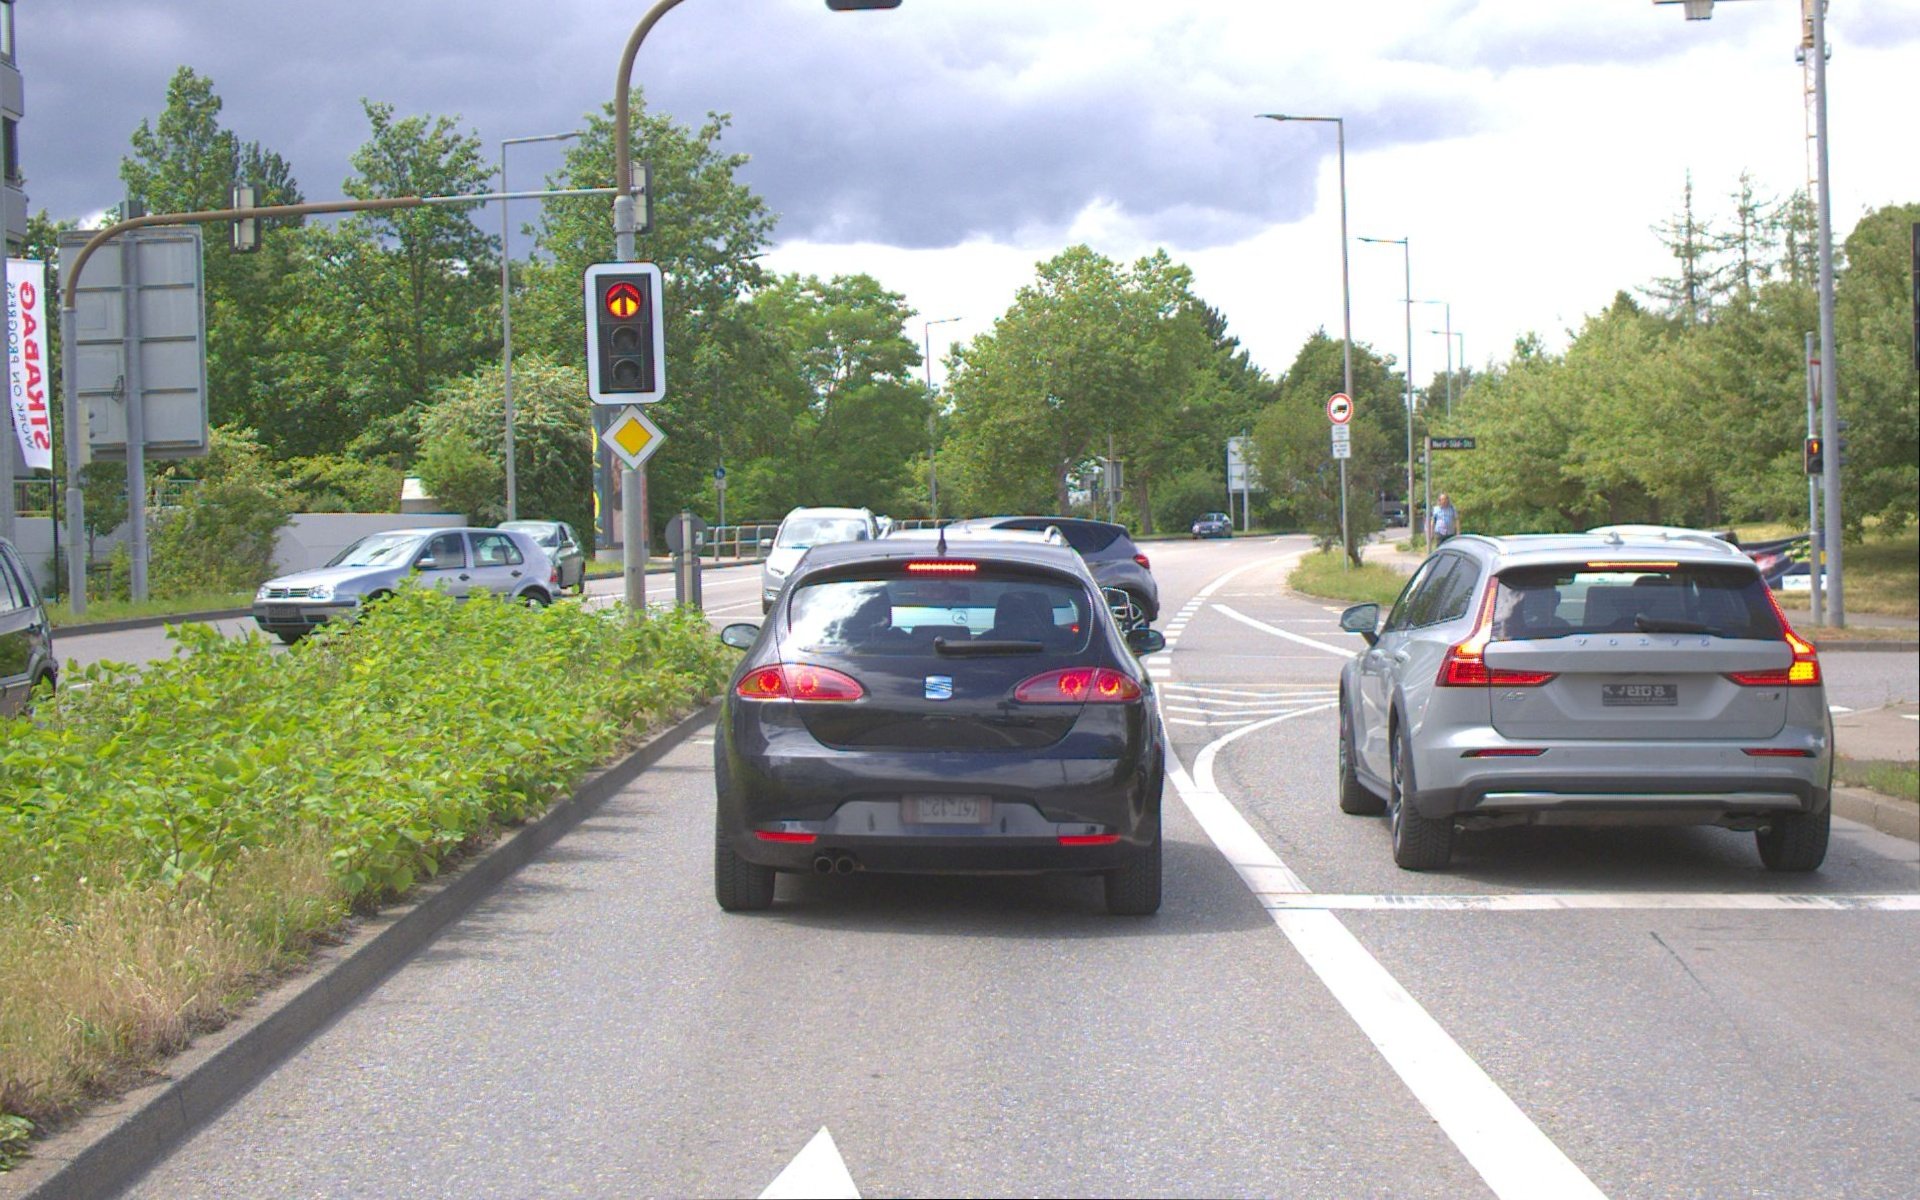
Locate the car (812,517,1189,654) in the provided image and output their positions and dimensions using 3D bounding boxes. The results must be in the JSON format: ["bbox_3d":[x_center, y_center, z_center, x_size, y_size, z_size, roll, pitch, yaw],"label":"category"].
[{"bbox_3d":[0.482,-0.204,40.544,3.986,1.511,1.942,-1,2,-26],"label":"car"}]

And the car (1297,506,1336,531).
[{"bbox_3d":[19.825,-4.535,191.223,1.994,1.347,3.999,0,2,8],"label":"car"}]

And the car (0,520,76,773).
[{"bbox_3d":[-6.462,0.289,19.897,1.678,1.477,4.000,0,1,0],"label":"car"}]

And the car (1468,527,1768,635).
[{"bbox_3d":[9.718,-0.302,50.753,3.992,1.525,1.997,0,2,25],"label":"car"}]

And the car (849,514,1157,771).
[{"bbox_3d":[0.201,0.209,22.251,1.773,1.486,3.583,-1,1,-2],"label":"car"}]

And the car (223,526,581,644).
[{"bbox_3d":[-6.895,-0.217,42.751,1.999,1.349,3.990,1,2,44],"label":"car"}]

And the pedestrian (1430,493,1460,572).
[{"bbox_3d":[10.634,-1.475,75.412,0.559,1.720,0.588,0,1,1],"label":"pedestrian"}]

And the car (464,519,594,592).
[{"bbox_3d":[-8.217,-0.869,65.799,1.993,1.347,4.000,0,2,0],"label":"car"}]

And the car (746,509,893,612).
[{"bbox_3d":[-2.230,-0.673,55.598,1.994,1.590,4.000,0,2,3],"label":"car"}]

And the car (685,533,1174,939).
[{"bbox_3d":[-0.116,0.460,14.314,1.773,1.447,3.582,0,1,0],"label":"car"}]

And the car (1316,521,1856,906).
[{"bbox_3d":[2.778,0.415,16.225,1.863,1.513,4.446,-1,1,2],"label":"car"}]

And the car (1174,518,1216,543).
[{"bbox_3d":[12.727,-3.753,186.031,1.994,1.347,3.999,0,2,8],"label":"car"}]
